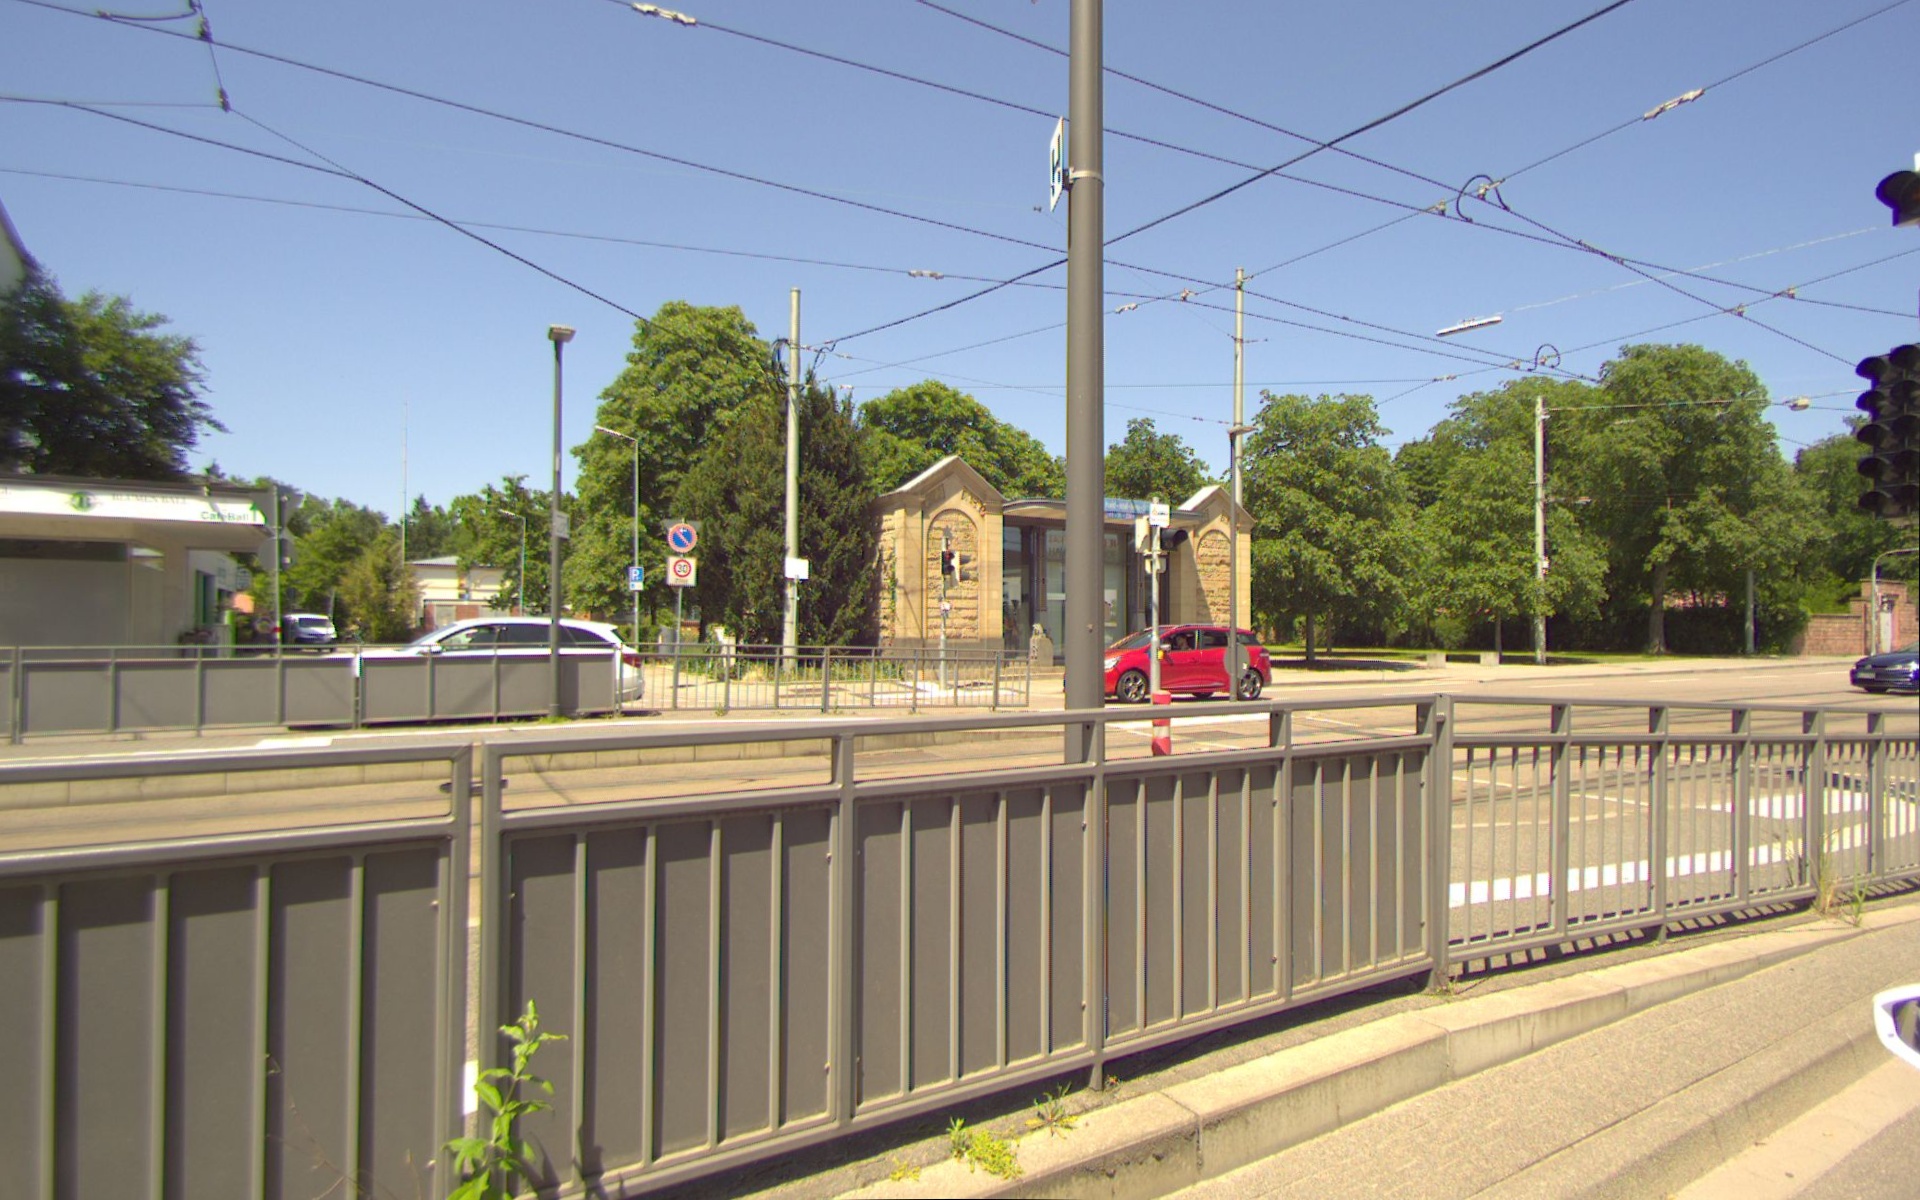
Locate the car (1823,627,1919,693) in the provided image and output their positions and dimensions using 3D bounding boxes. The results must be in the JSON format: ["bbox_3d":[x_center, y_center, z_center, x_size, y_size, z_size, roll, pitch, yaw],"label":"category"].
[{"bbox_3d":[22.989,1.370,23.199,4.388,1.461,1.863,0,-1,4],"label":"car"}]

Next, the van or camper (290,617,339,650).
[{"bbox_3d":[-32.061,1.639,49.841,1.676,1.587,3.784,1,-2,-38],"label":"van or camper"}]

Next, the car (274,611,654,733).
[{"bbox_3d":[-6.881,0.955,14.263,4.570,1.487,1.809,1,-3,-31],"label":"car"}]

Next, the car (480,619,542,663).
[{"bbox_3d":[-15.304,1.394,34.126,1.624,1.388,3.785,1,-3,-29],"label":"car"}]

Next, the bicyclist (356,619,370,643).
[{"bbox_3d":[-35.475,1.843,59.665,0.520,1.454,0.621,0,-1,-10],"label":"bicyclist"}]

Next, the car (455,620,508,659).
[{"bbox_3d":[-18.791,1.554,39.362,1.625,1.465,3.784,1,-3,-29],"label":"car"}]

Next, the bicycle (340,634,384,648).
[{"bbox_3d":[-35.511,2.419,59.637,2.154,0.798,0.617,1,-1,-10],"label":"bicycle"}]

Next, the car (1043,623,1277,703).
[{"bbox_3d":[3.855,1.209,19.436,4.112,1.413,1.816,1,-4,-21],"label":"car"}]

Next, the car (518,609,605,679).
[{"bbox_3d":[-9.917,1.021,24.820,1.799,1.472,3.934,1,1,-25],"label":"car"}]
